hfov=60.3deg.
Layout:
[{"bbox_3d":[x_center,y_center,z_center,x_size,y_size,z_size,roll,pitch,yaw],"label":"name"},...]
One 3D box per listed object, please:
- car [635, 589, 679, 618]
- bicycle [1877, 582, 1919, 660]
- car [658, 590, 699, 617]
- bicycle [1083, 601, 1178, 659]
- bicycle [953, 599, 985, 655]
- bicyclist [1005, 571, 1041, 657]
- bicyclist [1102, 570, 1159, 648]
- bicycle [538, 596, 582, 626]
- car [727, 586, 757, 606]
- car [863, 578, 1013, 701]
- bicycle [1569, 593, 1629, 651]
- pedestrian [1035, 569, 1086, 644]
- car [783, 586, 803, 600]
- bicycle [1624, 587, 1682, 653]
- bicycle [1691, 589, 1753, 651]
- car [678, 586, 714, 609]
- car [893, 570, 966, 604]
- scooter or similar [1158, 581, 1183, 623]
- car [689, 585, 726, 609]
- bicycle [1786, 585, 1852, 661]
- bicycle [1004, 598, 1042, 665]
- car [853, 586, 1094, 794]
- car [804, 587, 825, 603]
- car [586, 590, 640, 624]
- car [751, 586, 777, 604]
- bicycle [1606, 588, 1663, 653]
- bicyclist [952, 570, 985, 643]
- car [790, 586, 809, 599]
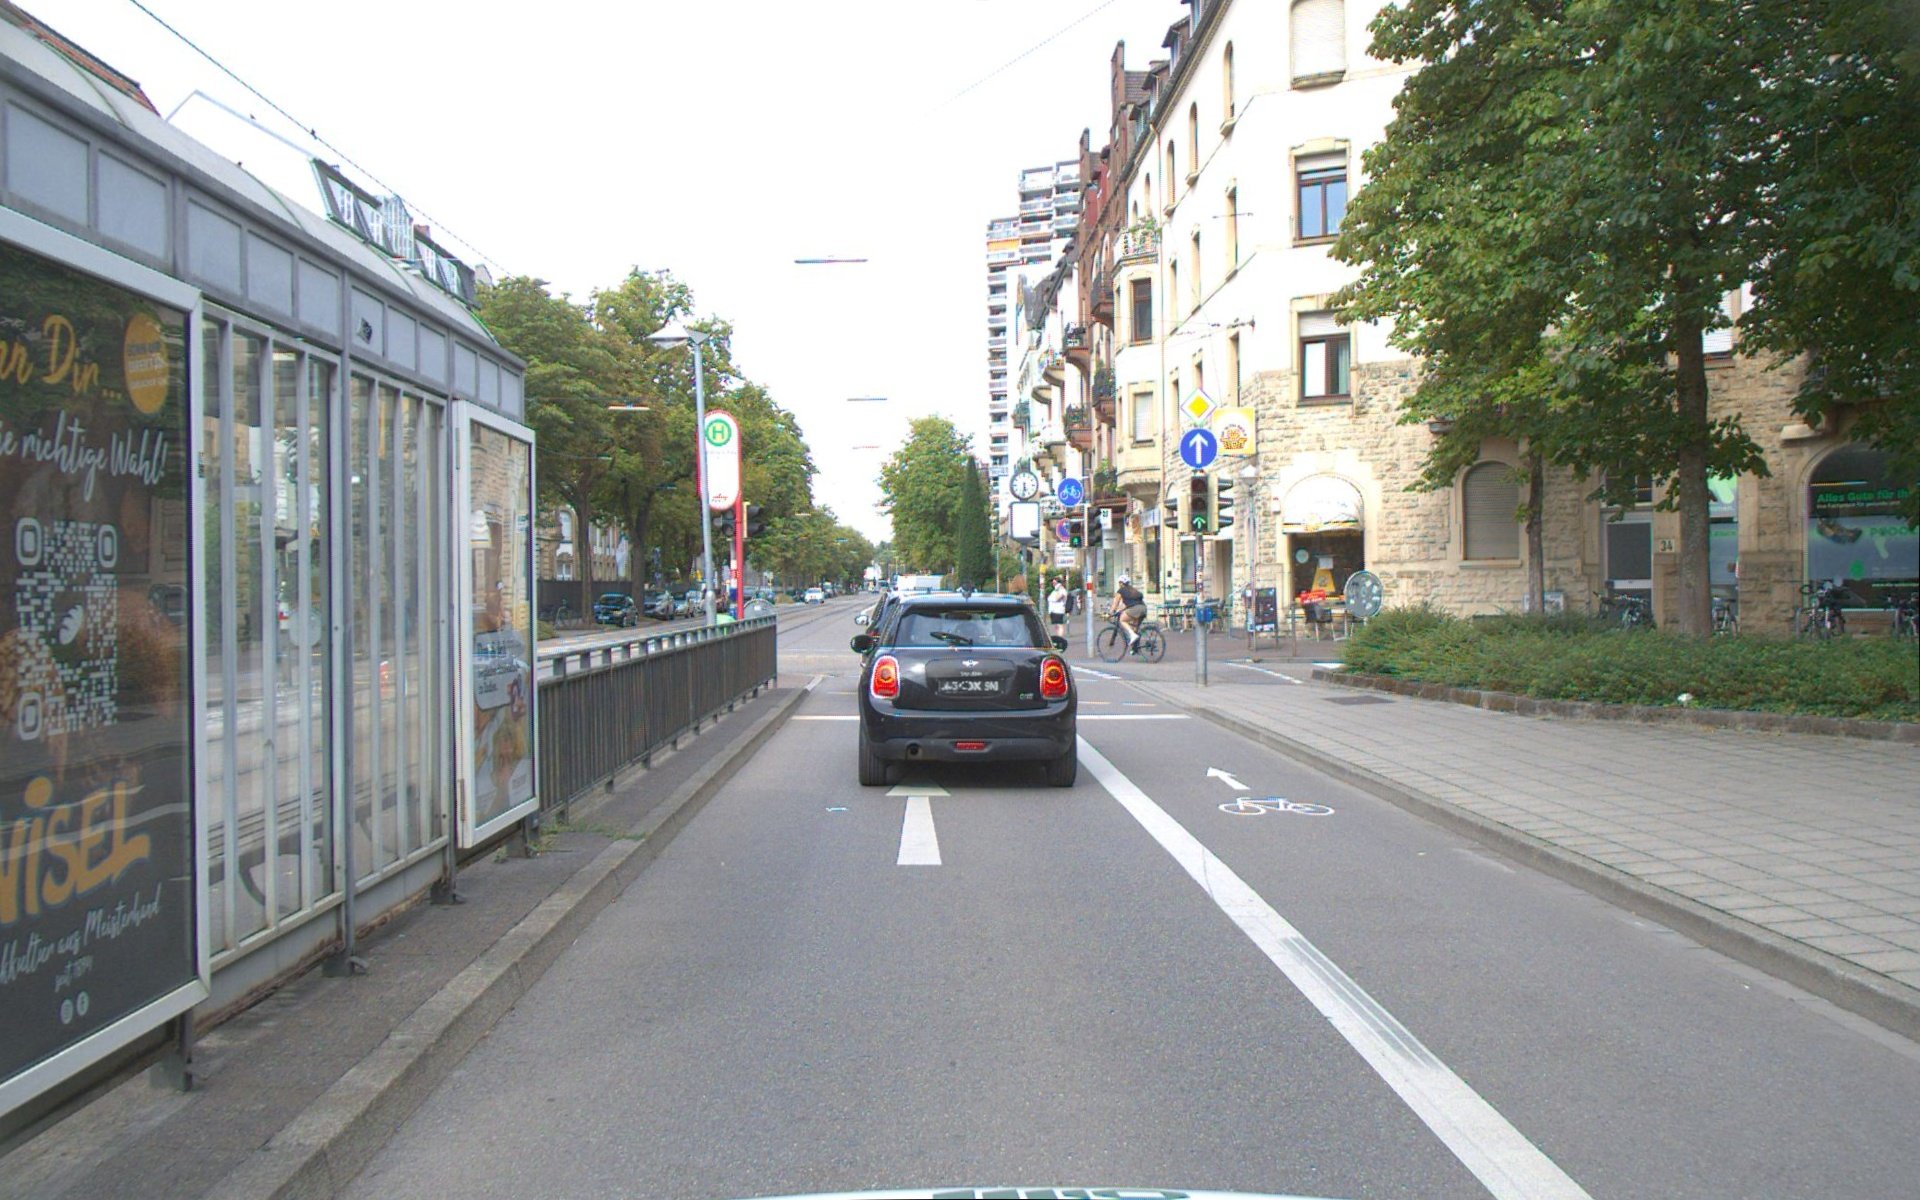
[{"bbox_3d":[-15.919,0.169,87.022,1.731,1.419,3.998,-1,1,-2],"label":"car"},{"bbox_3d":[14.716,0.310,25.622,0.523,1.147,1.884,-1,1,40],"label":"bicycle"},{"bbox_3d":[-16.098,0.192,94.692,1.731,1.419,3.998,-1,1,-2],"label":"car"},{"bbox_3d":[3.332,0.582,32.378,1.786,1.095,0.614,-1,1,39],"label":"bicycle"},{"bbox_3d":[0.201,0.592,36.958,0.670,1.190,1.697,-1,1,1],"label":"bicycle"},{"bbox_3d":[1.179,0.255,31.244,0.582,1.577,1.013,-1,1,-1],"label":"bicyclist"},{"bbox_3d":[3.334,0.181,32.362,0.898,1.498,0.614,-1,1,39],"label":"bicyclist"},{"bbox_3d":[-16.343,0.446,67.509,1.657,1.138,0.564,-2,1,-41],"label":"bicycle"},{"bbox_3d":[-17.990,-0.376,136.660,1.953,1.579,3.999,-1,1,-1],"label":"car"},{"bbox_3d":[-0.283,0.486,23.175,1.887,1.536,4.000,-1,1,0],"label":"car"},{"bbox_3d":[11.503,0.389,29.759,0.591,0.989,1.666,-1,1,36],"label":"bicycle"},{"bbox_3d":[2.403,0.161,39.502,0.720,1.703,0.830,-4,1,45],"label":"pedestrian"},{"bbox_3d":[-19.101,-0.839,189.096,1.953,1.579,3.999,-1,1,-1],"label":"car"},{"bbox_3d":[11.999,0.334,28.623,0.441,1.073,1.640,-1,1,40],"label":"bicycle"},{"bbox_3d":[12.821,0.322,27.805,0.523,0.989,1.640,-1,1,40],"label":"bicycle"},{"bbox_3d":[-16.788,-0.184,105.320,1.731,1.419,3.998,-1,1,-2],"label":"car"},{"bbox_3d":[-2.203,-0.934,119.706,4.997,2.312,2.360,-2,1,-42],"label":"car"},{"bbox_3d":[6.171,0.051,48.527,0.498,1.209,1.261,-1,1,-1],"label":"scooter or similar"},{"bbox_3d":[-17.356,-0.233,113.704,1.953,1.579,3.999,-1,1,-1],"label":"car"},{"bbox_3d":[13.773,0.354,26.502,0.523,1.147,1.884,-1,1,40],"label":"bicycle"},{"bbox_3d":[1.187,0.582,31.251,0.586,1.190,1.696,-1,1,-1],"label":"bicycle"},{"bbox_3d":[0.067,0.627,13.865,1.716,1.466,3.999,1,1,-1],"label":"car"},{"bbox_3d":[-13.644,-0.486,155.047,1.731,1.419,3.998,-1,1,-2],"label":"car"},{"bbox_3d":[-15.697,0.306,75.001,1.731,1.419,3.998,-1,1,-2],"label":"car"},{"bbox_3d":[-18.078,-0.486,152.894,1.953,1.579,3.999,-1,1,-1],"label":"car"},{"bbox_3d":[11.838,0.342,29.001,0.441,1.073,1.640,-1,1,40],"label":"bicycle"},{"bbox_3d":[0.191,0.137,36.925,0.670,1.591,0.998,-1,1,0],"label":"bicyclist"},{"bbox_3d":[-19.367,-0.901,199.558,1.953,1.579,3.999,-1,1,-1],"label":"car"}]
